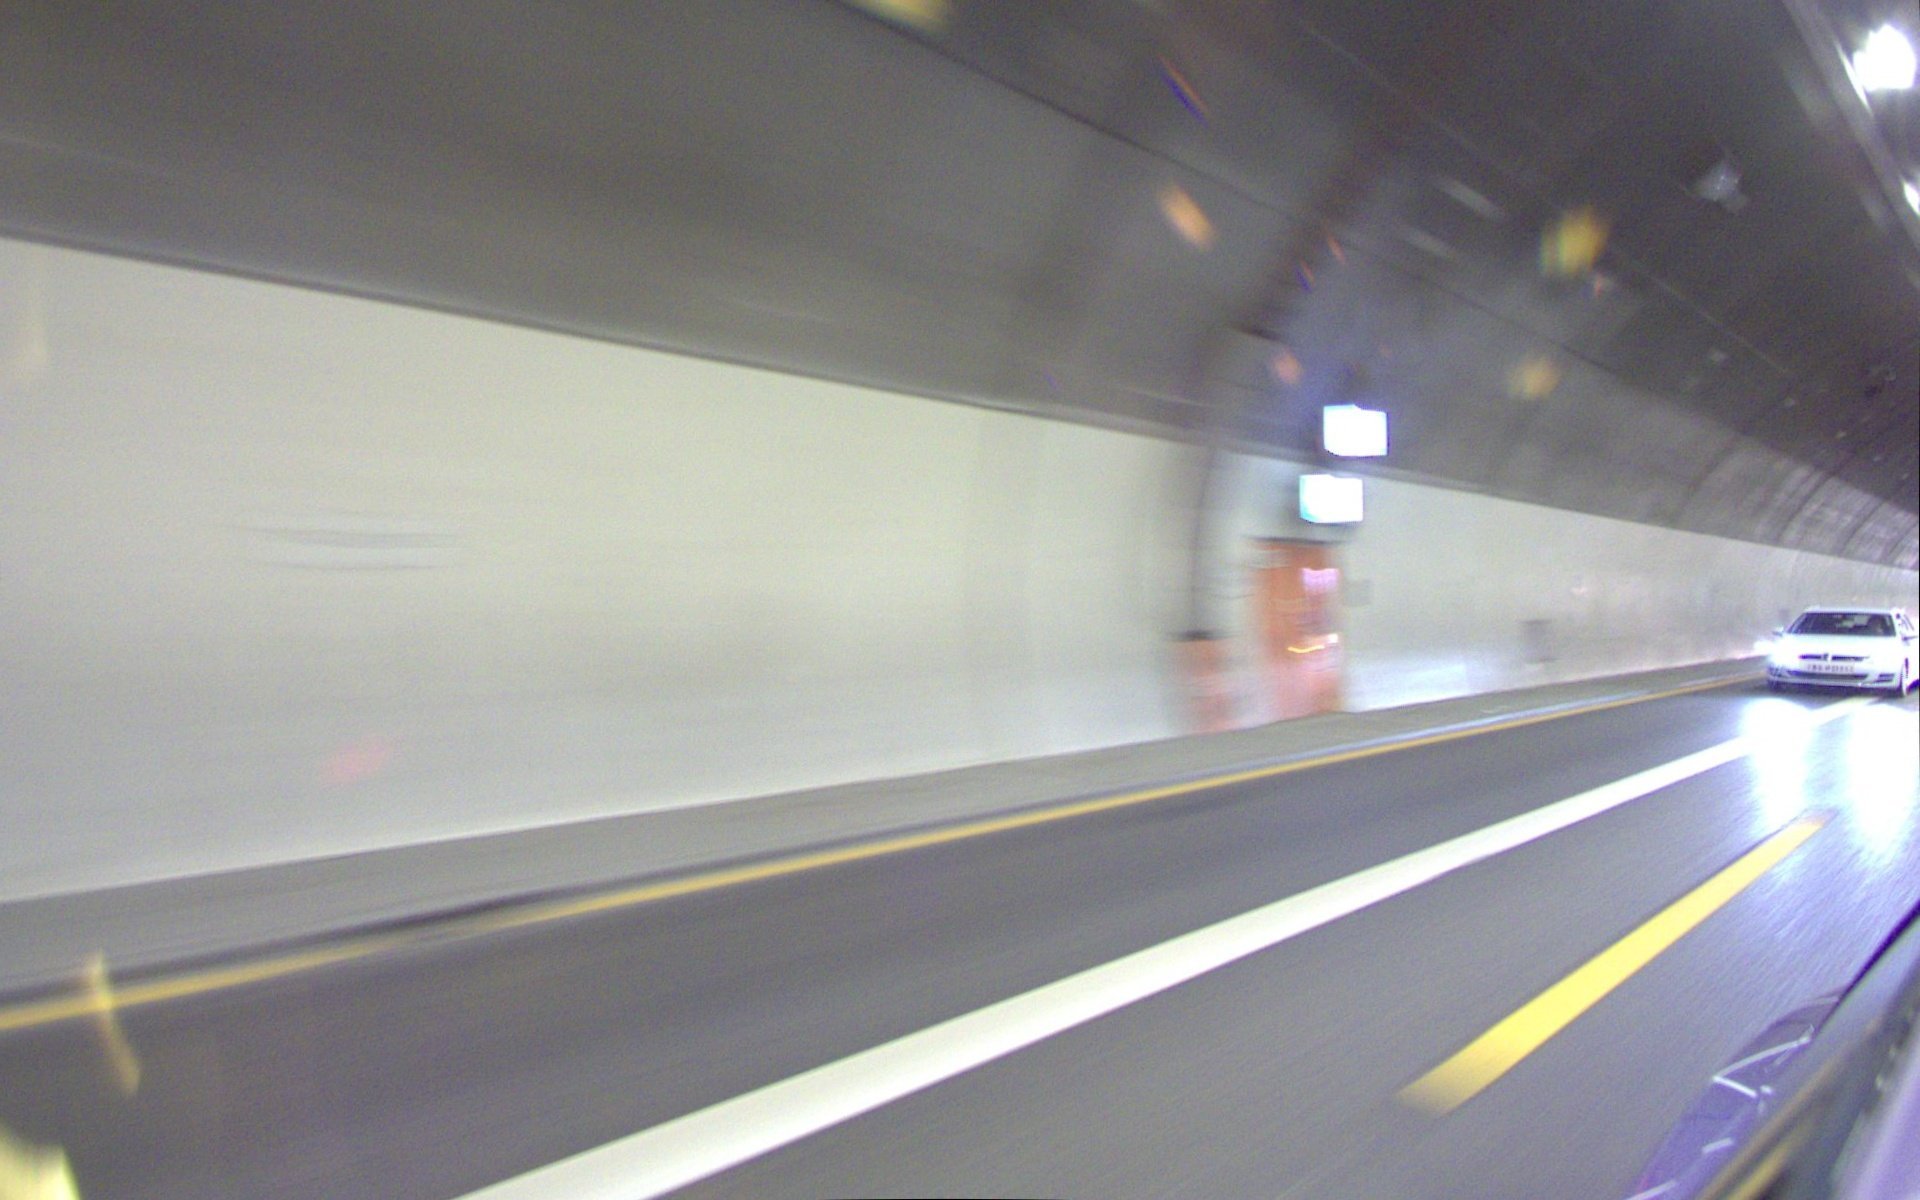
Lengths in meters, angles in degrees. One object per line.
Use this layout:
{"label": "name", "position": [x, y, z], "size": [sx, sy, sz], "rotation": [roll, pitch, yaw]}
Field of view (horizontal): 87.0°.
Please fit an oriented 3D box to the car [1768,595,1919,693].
{"label": "car", "position": [15.595, 0.676, 17.468], "size": [3.962, 1.479, 1.801], "rotation": [0, 0, -40]}
